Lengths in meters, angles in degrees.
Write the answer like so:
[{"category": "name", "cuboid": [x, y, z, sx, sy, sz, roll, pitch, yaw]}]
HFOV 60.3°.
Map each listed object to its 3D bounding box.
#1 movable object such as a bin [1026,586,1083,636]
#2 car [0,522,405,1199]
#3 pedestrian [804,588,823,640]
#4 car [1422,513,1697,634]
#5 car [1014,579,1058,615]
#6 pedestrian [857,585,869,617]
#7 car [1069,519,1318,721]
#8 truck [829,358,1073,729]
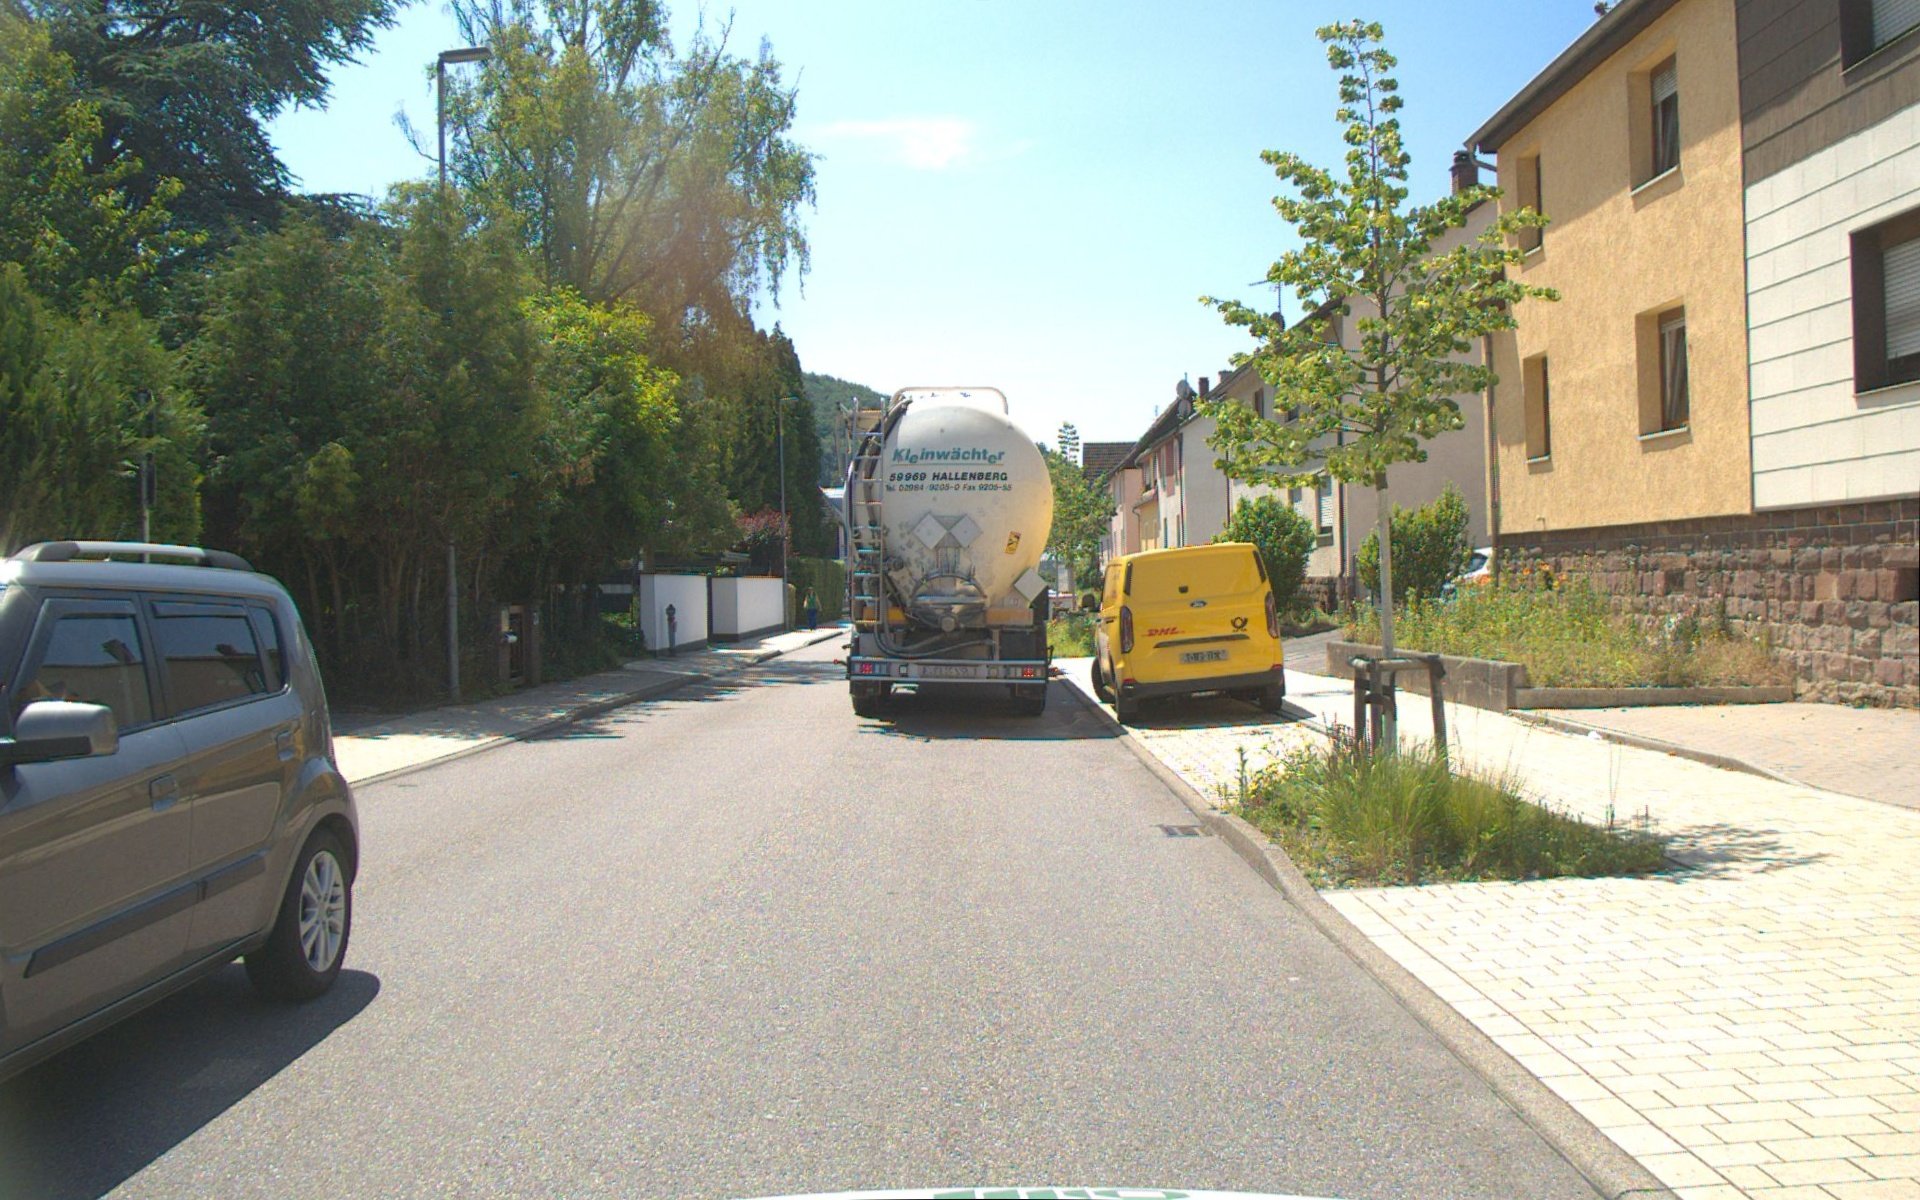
[{"category": "movable object such as a bin", "cuboid": [2.882, 0.346, 50.923, 1.539, 1.441, 3.041, -2, -1, -1]}, {"category": "car", "cuboid": [-3.182, 0.642, 4.782, 1.829, 1.681, 3.948, 0, 1, 0]}, {"category": "pedestrian", "cuboid": [-5.769, 0.559, 65.160, 0.706, 2.049, 0.804, 0, -1, -1]}, {"category": "car", "cuboid": [10.163, -0.441, 28.220, 3.908, 1.705, 1.873, -4, 0, -3]}, {"category": "car", "cuboid": [3.381, -0.117, 74.453, 1.720, 1.442, 4.632, -3, -1, 0]}, {"category": "pedestrian", "cuboid": [-5.680, 0.064, 97.269, 0.698, 1.855, 0.898, 0, -1, -4]}, {"category": "car", "cuboid": [2.785, 0.249, 21.210, 2.146, 2.048, 5.621, -5, -1, -1]}, {"category": "truck", "cuboid": [-0.128, -0.671, 23.930, 2.694, 4.127, 10.888, 0, 0, 0]}]
